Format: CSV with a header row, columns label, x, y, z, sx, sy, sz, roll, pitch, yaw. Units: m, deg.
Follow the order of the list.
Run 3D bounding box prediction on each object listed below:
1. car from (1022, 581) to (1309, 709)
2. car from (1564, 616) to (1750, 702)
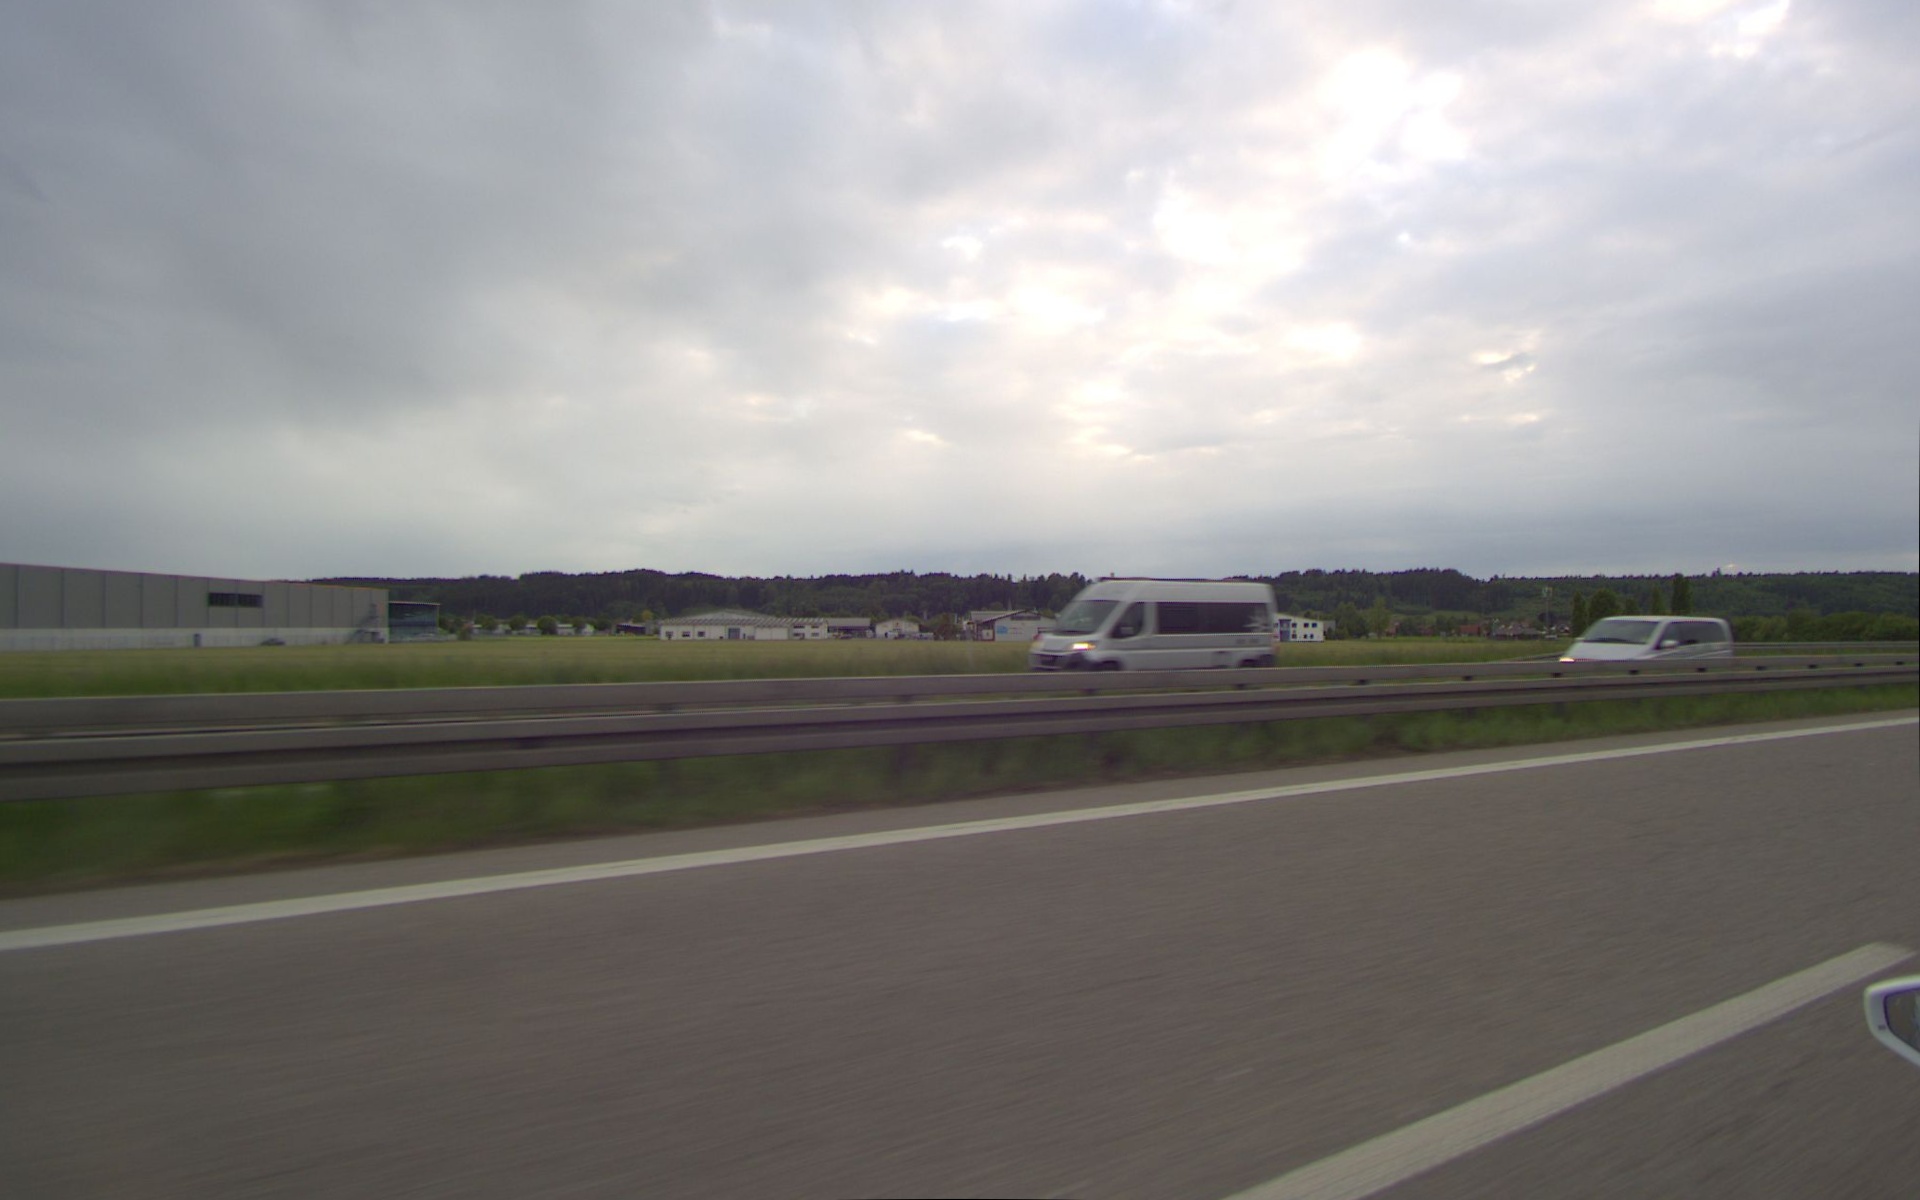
label,x,y,z,sx,sy,sz,roll,pitch,yaw
car,4.689,0.946,22.428,6.512,2.516,2.135,1,0,-30
car,17.296,1.387,24.878,5.013,1.916,1.896,1,0,-31
